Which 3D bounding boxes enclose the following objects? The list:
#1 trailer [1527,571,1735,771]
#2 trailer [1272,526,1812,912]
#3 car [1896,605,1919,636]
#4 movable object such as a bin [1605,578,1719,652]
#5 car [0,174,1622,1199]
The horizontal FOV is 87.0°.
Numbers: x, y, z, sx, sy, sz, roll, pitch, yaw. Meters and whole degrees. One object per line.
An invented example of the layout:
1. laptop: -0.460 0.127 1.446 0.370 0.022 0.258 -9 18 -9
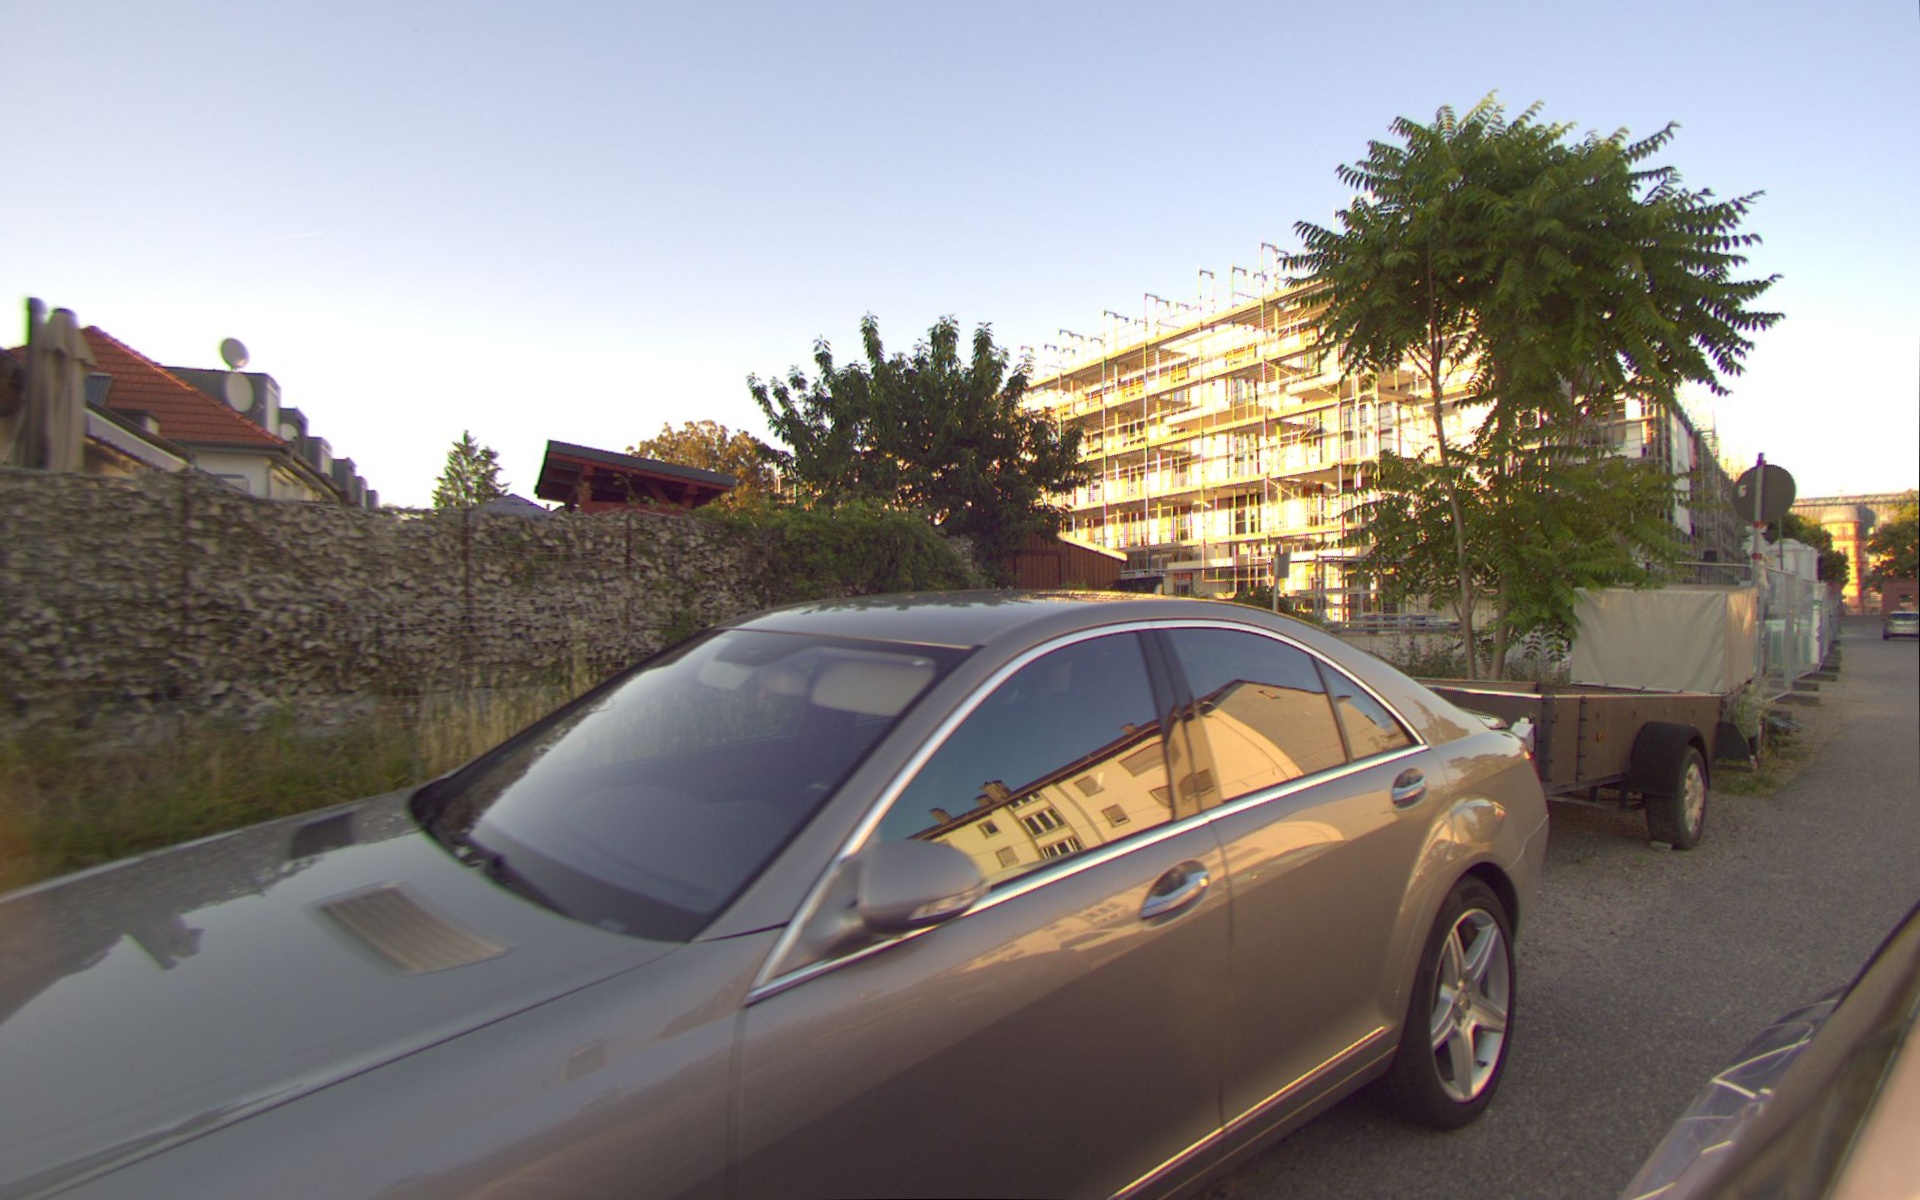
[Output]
1. trailer: 6.659 0.592 9.955 1.250 1.686 2.759 1 0 44
2. trailer: 4.260 0.548 6.974 4.850 1.800 1.734 0 0 -41
3. car: 52.533 1.089 55.510 1.669 1.641 4.219 -2 -2 43
4. movable object such as a bin: 24.611 0.498 35.287 2.064 2.303 8.236 -1 -1 43
5. car: -0.147 0.509 2.595 4.841 1.746 1.809 0 0 -41
